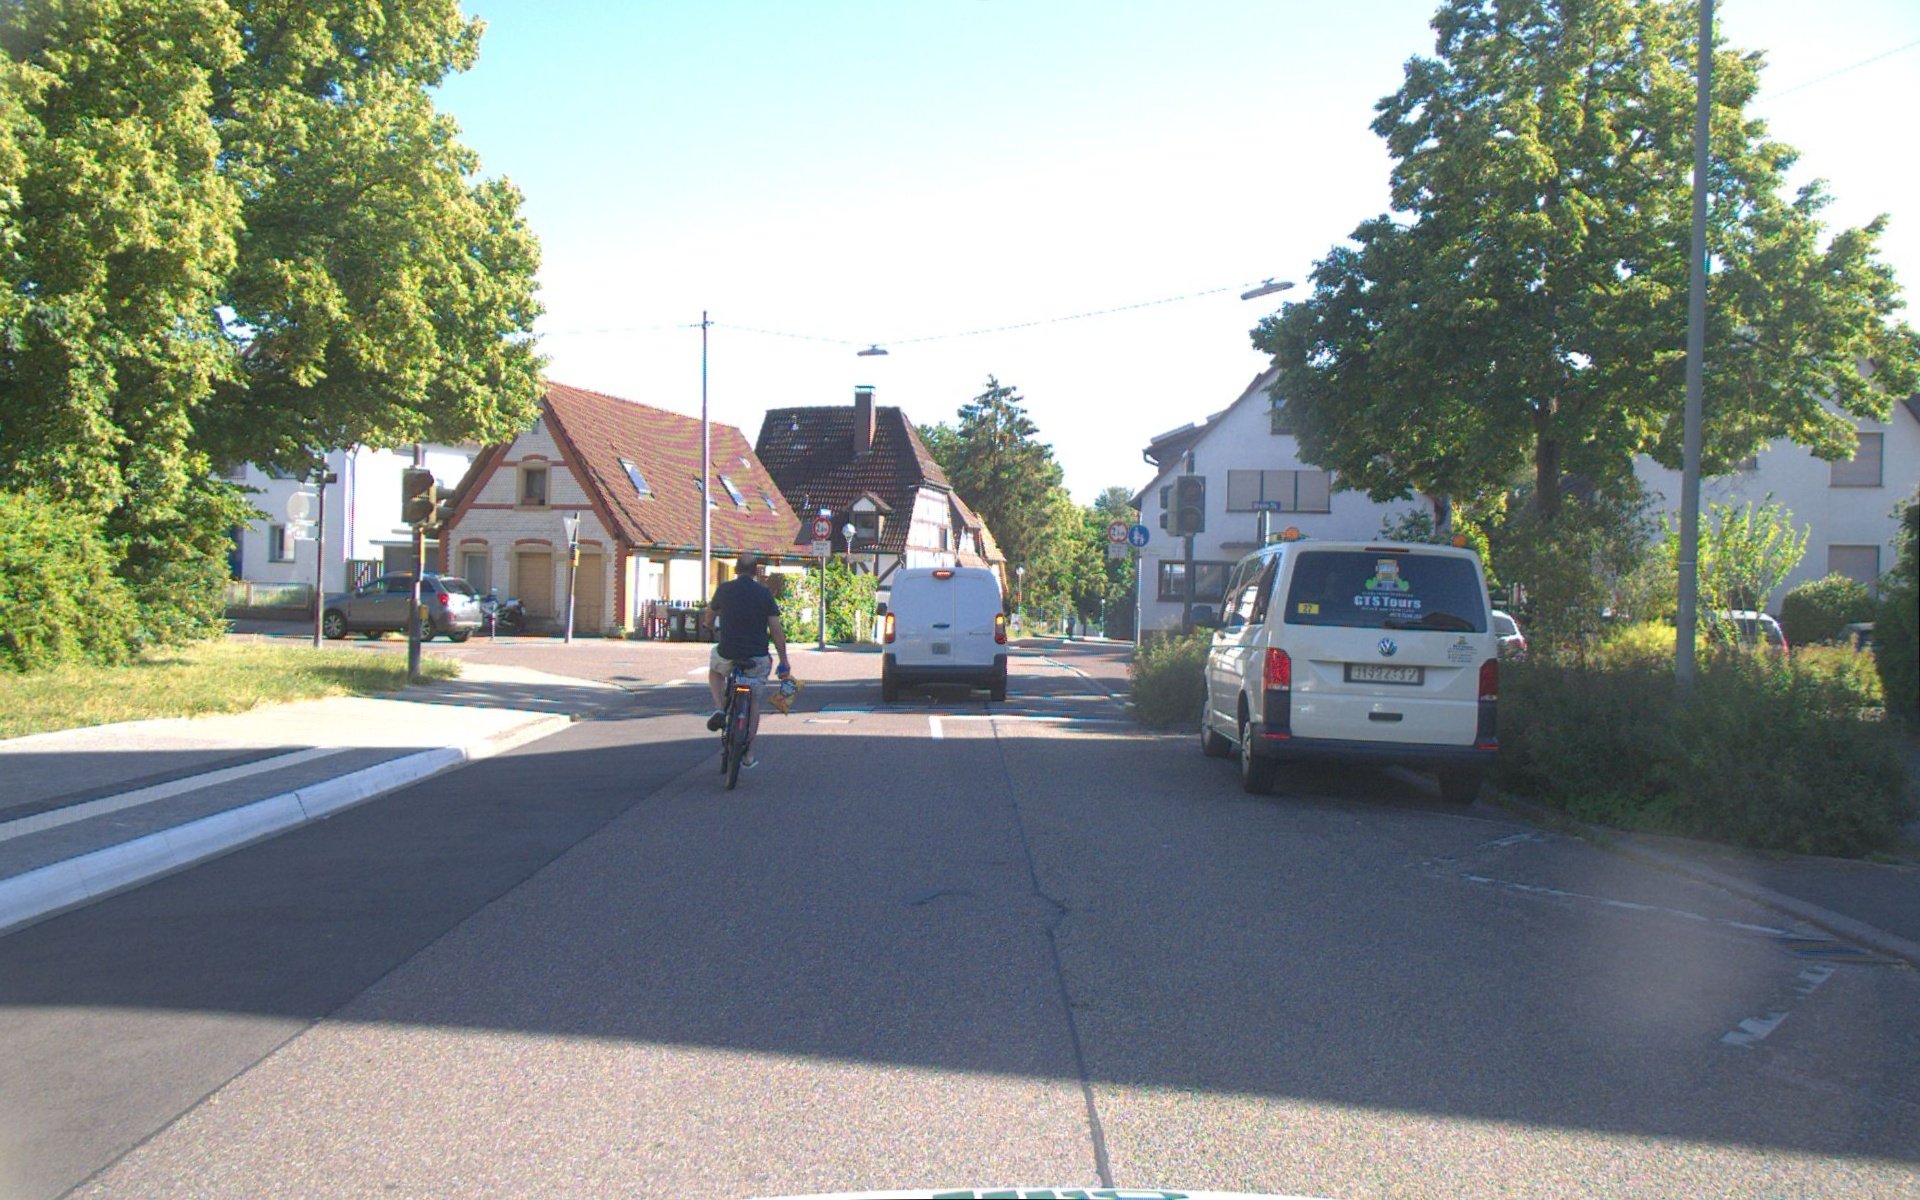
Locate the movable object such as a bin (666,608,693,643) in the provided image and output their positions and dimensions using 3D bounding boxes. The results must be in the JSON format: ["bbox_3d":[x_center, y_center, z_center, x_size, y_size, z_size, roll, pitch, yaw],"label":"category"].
[{"bbox_3d":[-7.828,0.716,46.221,0.497,0.941,0.626,1,0,18],"label":"movable object such as a bin"}]

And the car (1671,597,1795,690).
[{"bbox_3d":[15.732,0.825,33.854,1.672,1.578,4.406,2,2,17],"label":"car"}]

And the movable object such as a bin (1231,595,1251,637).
[{"bbox_3d":[7.952,0.448,46.810,0.515,1.142,0.749,1,0,10],"label":"movable object such as a bin"}]

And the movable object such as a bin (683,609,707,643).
[{"bbox_3d":[-7.382,0.720,46.035,0.403,0.921,0.626,1,1,18],"label":"movable object such as a bin"}]

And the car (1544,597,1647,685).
[{"bbox_3d":[13.200,0.789,34.548,1.672,1.543,4.406,2,2,17],"label":"car"}]

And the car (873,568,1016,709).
[{"bbox_3d":[-0.285,0.481,24.508,1.918,1.880,4.559,0,1,-2],"label":"car"}]

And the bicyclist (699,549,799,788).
[{"bbox_3d":[-1.666,0.516,13.099,0.750,1.820,0.851,0,1,-8],"label":"bicyclist"}]

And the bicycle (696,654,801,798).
[{"bbox_3d":[-1.696,0.958,13.243,0.760,0.956,2.287,0,0,-8],"label":"bicycle"}]

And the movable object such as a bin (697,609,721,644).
[{"bbox_3d":[-6.968,0.728,45.909,0.402,0.941,0.626,1,0,18],"label":"movable object such as a bin"}]

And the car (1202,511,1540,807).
[{"bbox_3d":[3.338,0.440,14.389,1.952,2.115,4.579,1,0,3],"label":"car"}]

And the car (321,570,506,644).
[{"bbox_3d":[-14.181,0.172,42.973,4.131,1.755,1.947,1,0,14],"label":"car"}]

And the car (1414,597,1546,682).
[{"bbox_3d":[10.682,0.758,34.309,1.951,1.446,4.807,1,2,10],"label":"car"}]

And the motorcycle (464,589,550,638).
[{"bbox_3d":[-12.711,0.364,46.462,2.195,1.317,0.883,1,3,19],"label":"motorcycle"}]

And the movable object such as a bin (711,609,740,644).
[{"bbox_3d":[-6.481,0.733,45.750,0.544,0.941,0.626,1,0,18],"label":"movable object such as a bin"}]
